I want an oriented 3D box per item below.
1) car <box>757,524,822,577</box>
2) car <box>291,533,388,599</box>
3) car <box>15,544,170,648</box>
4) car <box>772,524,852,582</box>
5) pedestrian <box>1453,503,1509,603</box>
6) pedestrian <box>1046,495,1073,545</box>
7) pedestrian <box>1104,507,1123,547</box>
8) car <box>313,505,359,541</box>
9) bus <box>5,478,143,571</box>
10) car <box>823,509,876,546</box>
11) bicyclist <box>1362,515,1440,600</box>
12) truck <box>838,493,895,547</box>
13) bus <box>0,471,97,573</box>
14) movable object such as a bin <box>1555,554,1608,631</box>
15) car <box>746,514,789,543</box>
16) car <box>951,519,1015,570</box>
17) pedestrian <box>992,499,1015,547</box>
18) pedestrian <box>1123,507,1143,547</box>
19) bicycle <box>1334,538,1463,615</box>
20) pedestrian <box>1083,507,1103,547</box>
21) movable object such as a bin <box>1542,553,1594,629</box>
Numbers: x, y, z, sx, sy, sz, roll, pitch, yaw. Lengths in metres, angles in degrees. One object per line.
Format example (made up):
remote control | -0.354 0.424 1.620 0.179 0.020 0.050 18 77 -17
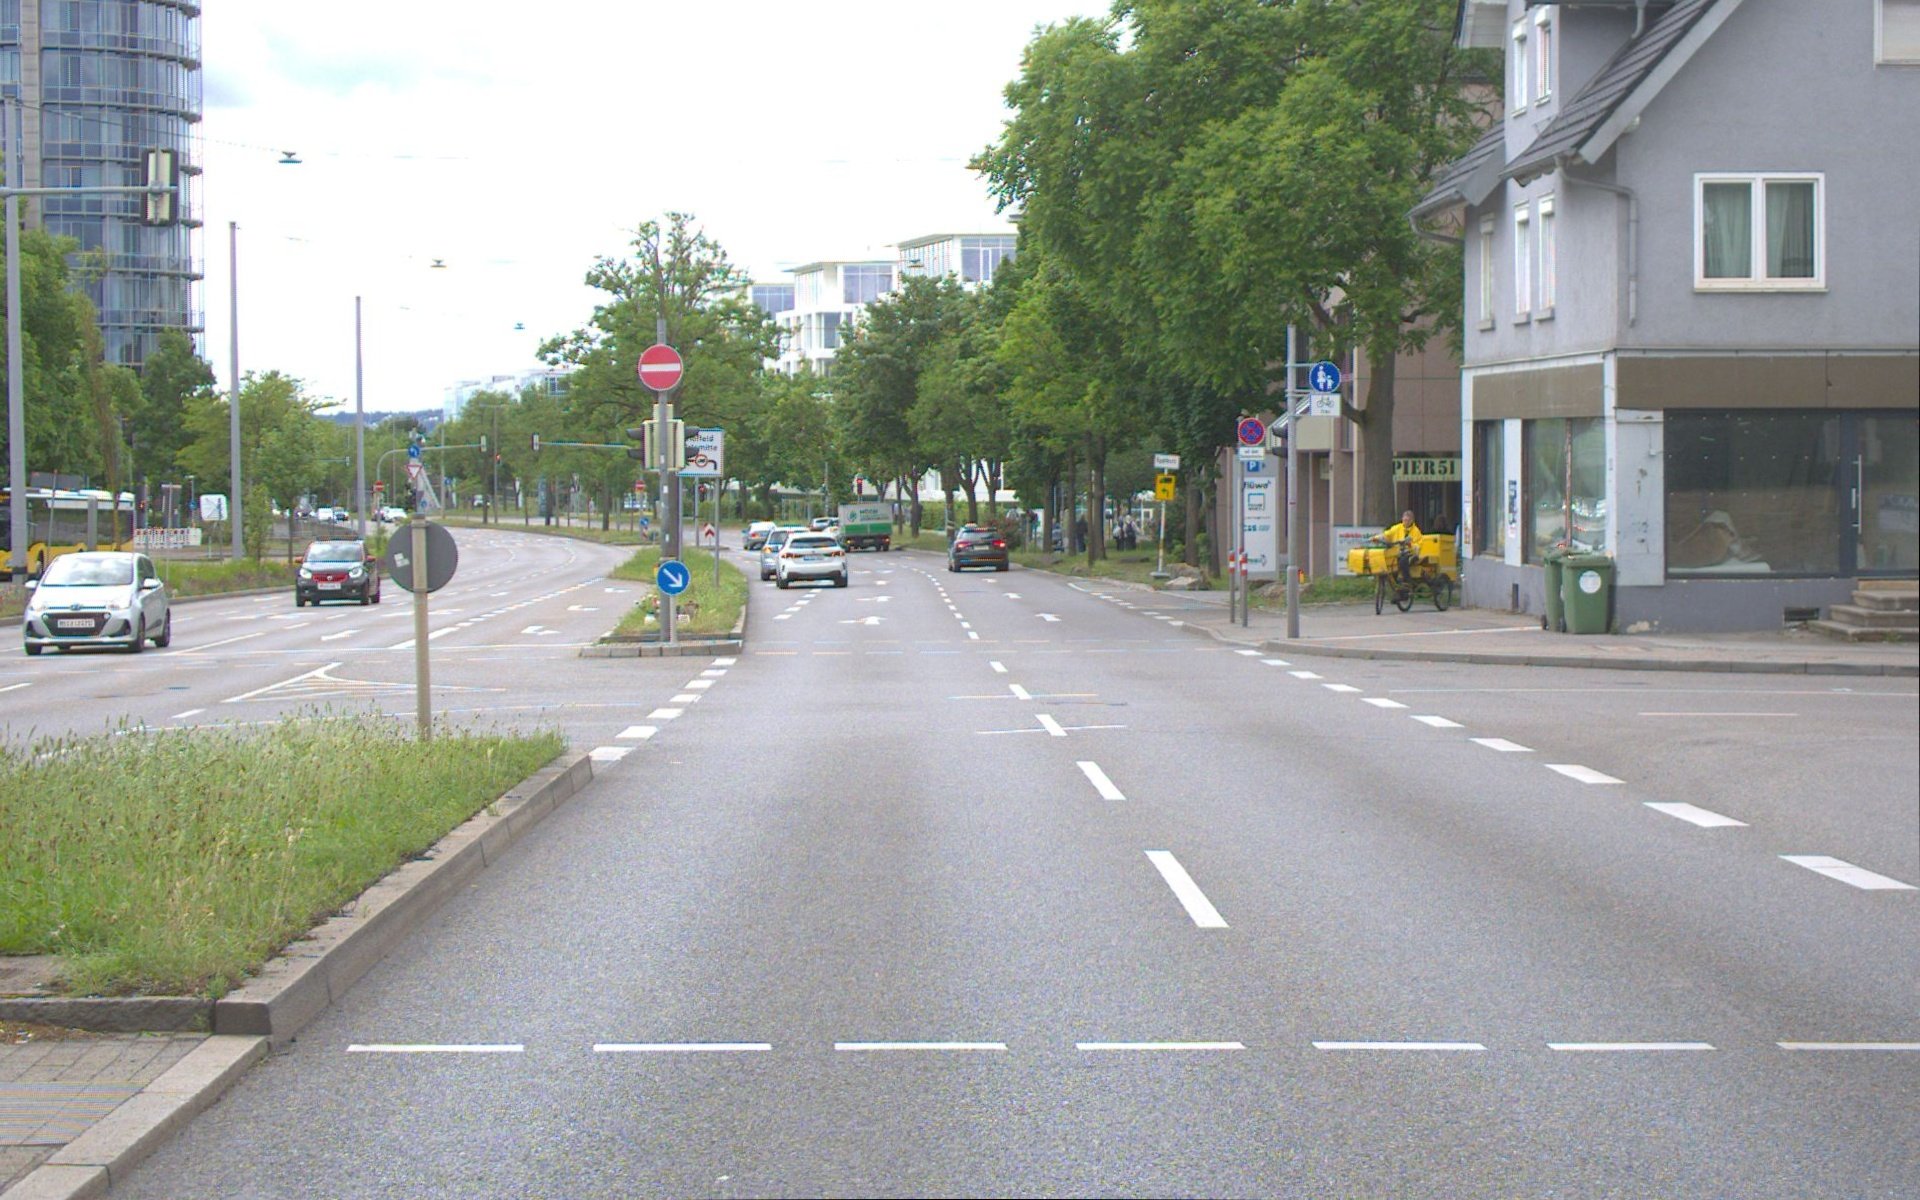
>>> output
car | -5.115 -1.472 102.736 1.822 1.535 4.115 -1 1 -4
car | -14.605 -0.816 81.106 1.702 1.487 3.562 -1 1 -1
car | -12.808 -0.087 50.919 1.684 1.457 3.556 -1 1 -5
car | -3.915 -1.258 91.546 1.993 1.472 4.256 -1 1 -1
pedestrian | 9.333 -0.847 61.572 0.706 1.773 0.869 0 1 31
pedestrian | 4.005 -3.216 138.420 0.971 2.007 0.981 1 0 -1
pedestrian | 6.052 -2.894 135.613 0.650 1.564 0.671 -1 1 -8
car | -36.350 -4.460 200.254 1.965 2.007 4.000 1 1 -1
bus | -31.744 -2.706 123.462 3.144 3.214 7.766 -1 1 -2
car | -5.323 -3.476 165.061 2.251 1.751 4.934 -1 1 -5
bicyclist | 7.149 -0.691 55.751 1.076 1.352 0.627 0 1 35
truck | -4.277 -3.644 156.464 2.251 2.408 4.934 0 1 -5
bus | -31.405 -2.564 114.458 3.144 3.214 10.286 -1 1 -3
movable object such as a bin | 7.957 -0.101 44.045 0.529 0.976 0.736 -1 1 -1
car | -9.705 -3.595 173.147 1.967 1.415 4.023 -1 1 -5
car | 0.705 -1.740 109.107 1.889 1.489 4.099 -2 0 -1
pedestrian | 2.090 -3.699 164.974 0.930 2.300 1.011 1 0 -10
pedestrian | 6.827 -2.888 135.499 0.650 1.564 0.671 -1 1 -8
bicycle | 7.108 -0.388 55.670 1.076 1.213 2.434 0 1 34
pedestrian | 5.250 -2.875 135.603 0.650 1.564 0.671 -1 1 -8
movable object such as a bin | 7.929 -0.126 44.835 0.529 0.976 0.736 -1 1 -1
